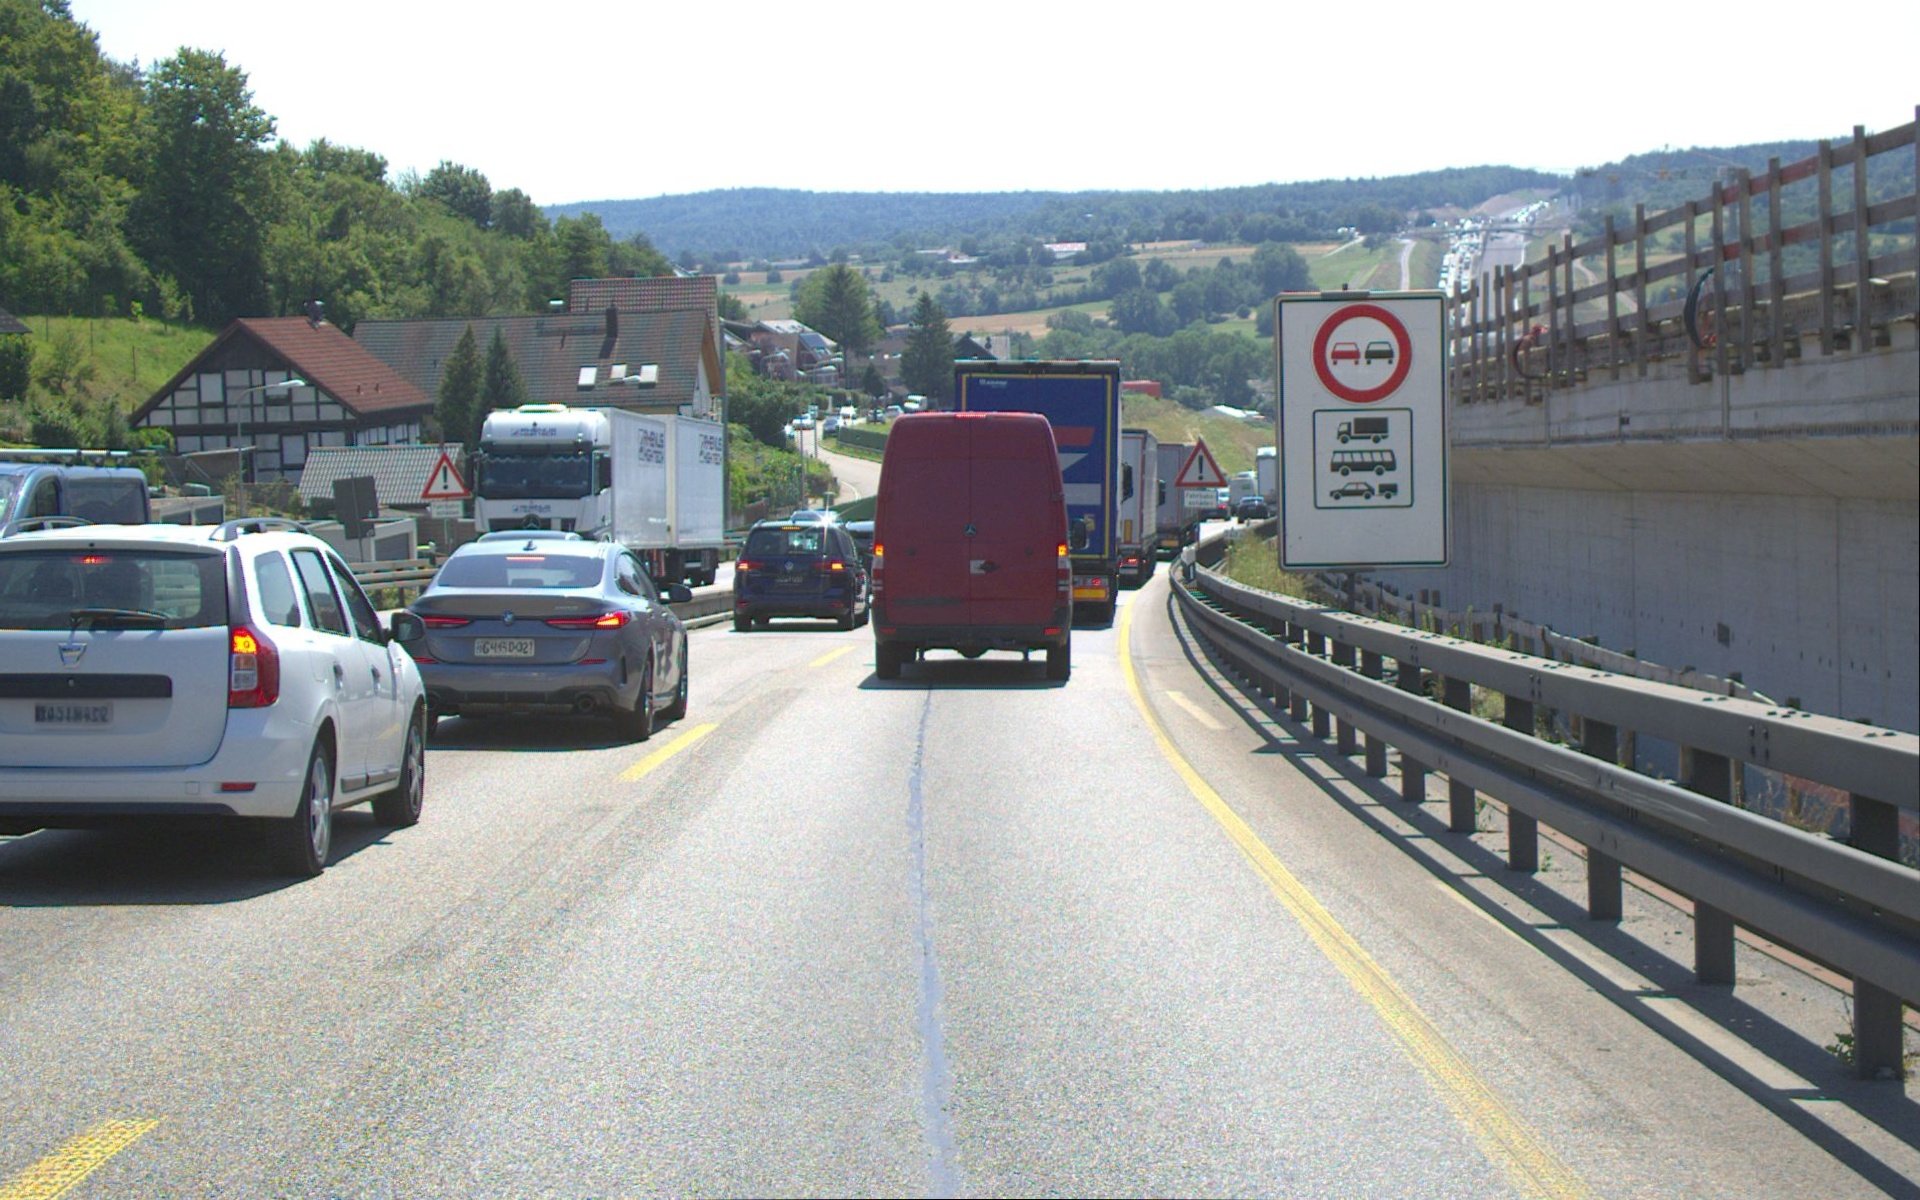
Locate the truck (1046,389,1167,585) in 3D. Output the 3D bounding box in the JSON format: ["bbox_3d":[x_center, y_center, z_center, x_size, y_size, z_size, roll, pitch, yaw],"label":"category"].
[{"bbox_3d":[3.878,-2.789,88.894,2.786,4.799,9.683,0,0,4],"label":"truck"}]

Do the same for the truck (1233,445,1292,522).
[{"bbox_3d":[18.299,-6.997,207.619,3.070,4.366,8.554,0,0,8],"label":"truck"}]

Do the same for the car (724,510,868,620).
[{"bbox_3d":[-2.447,-0.517,51.981,1.810,1.602,3.719,0,0,3],"label":"car"}]

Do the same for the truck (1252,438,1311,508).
[{"bbox_3d":[21.450,-8.424,229.282,3.468,4.366,8.554,0,0,8],"label":"truck"}]

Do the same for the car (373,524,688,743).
[{"bbox_3d":[-3.074,0.192,25.346,1.794,1.480,4.050,0,1,0],"label":"car"}]

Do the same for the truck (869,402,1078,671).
[{"bbox_3d":[0.135,-0.615,34.891,1.993,2.570,4.000,0,0,0],"label":"truck"}]

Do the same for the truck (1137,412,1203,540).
[{"bbox_3d":[7.363,-4.292,120.195,1.994,4.366,3.999,0,0,8],"label":"truck"}]

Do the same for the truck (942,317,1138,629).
[{"bbox_3d":[1.480,-1.982,57.902,2.786,4.799,9.683,0,0,4],"label":"truck"}]

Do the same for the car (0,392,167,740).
[{"bbox_3d":[-6.926,-0.222,22.992,1.993,2.165,4.832,0,0,2],"label":"car"}]

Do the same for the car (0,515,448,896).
[{"bbox_3d":[-3.523,0.409,15.843,1.651,1.478,4.267,-2,1,0],"label":"car"}]

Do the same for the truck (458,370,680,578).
[{"bbox_3d":[-8.245,-2.661,73.960,2.978,4.148,10.544,0,2,3],"label":"truck"}]

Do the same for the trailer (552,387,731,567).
[{"bbox_3d":[-7.644,-2.934,83.727,3.004,4.151,9.016,0,1,3],"label":"trailer"}]

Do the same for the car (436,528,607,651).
[{"bbox_3d":[-6.059,-0.177,47.898,1.581,1.516,4.154,-2,2,3],"label":"car"}]

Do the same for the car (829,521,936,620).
[{"bbox_3d":[-1.449,-0.556,65.544,1.729,1.832,4.000,0,0,3],"label":"car"}]
